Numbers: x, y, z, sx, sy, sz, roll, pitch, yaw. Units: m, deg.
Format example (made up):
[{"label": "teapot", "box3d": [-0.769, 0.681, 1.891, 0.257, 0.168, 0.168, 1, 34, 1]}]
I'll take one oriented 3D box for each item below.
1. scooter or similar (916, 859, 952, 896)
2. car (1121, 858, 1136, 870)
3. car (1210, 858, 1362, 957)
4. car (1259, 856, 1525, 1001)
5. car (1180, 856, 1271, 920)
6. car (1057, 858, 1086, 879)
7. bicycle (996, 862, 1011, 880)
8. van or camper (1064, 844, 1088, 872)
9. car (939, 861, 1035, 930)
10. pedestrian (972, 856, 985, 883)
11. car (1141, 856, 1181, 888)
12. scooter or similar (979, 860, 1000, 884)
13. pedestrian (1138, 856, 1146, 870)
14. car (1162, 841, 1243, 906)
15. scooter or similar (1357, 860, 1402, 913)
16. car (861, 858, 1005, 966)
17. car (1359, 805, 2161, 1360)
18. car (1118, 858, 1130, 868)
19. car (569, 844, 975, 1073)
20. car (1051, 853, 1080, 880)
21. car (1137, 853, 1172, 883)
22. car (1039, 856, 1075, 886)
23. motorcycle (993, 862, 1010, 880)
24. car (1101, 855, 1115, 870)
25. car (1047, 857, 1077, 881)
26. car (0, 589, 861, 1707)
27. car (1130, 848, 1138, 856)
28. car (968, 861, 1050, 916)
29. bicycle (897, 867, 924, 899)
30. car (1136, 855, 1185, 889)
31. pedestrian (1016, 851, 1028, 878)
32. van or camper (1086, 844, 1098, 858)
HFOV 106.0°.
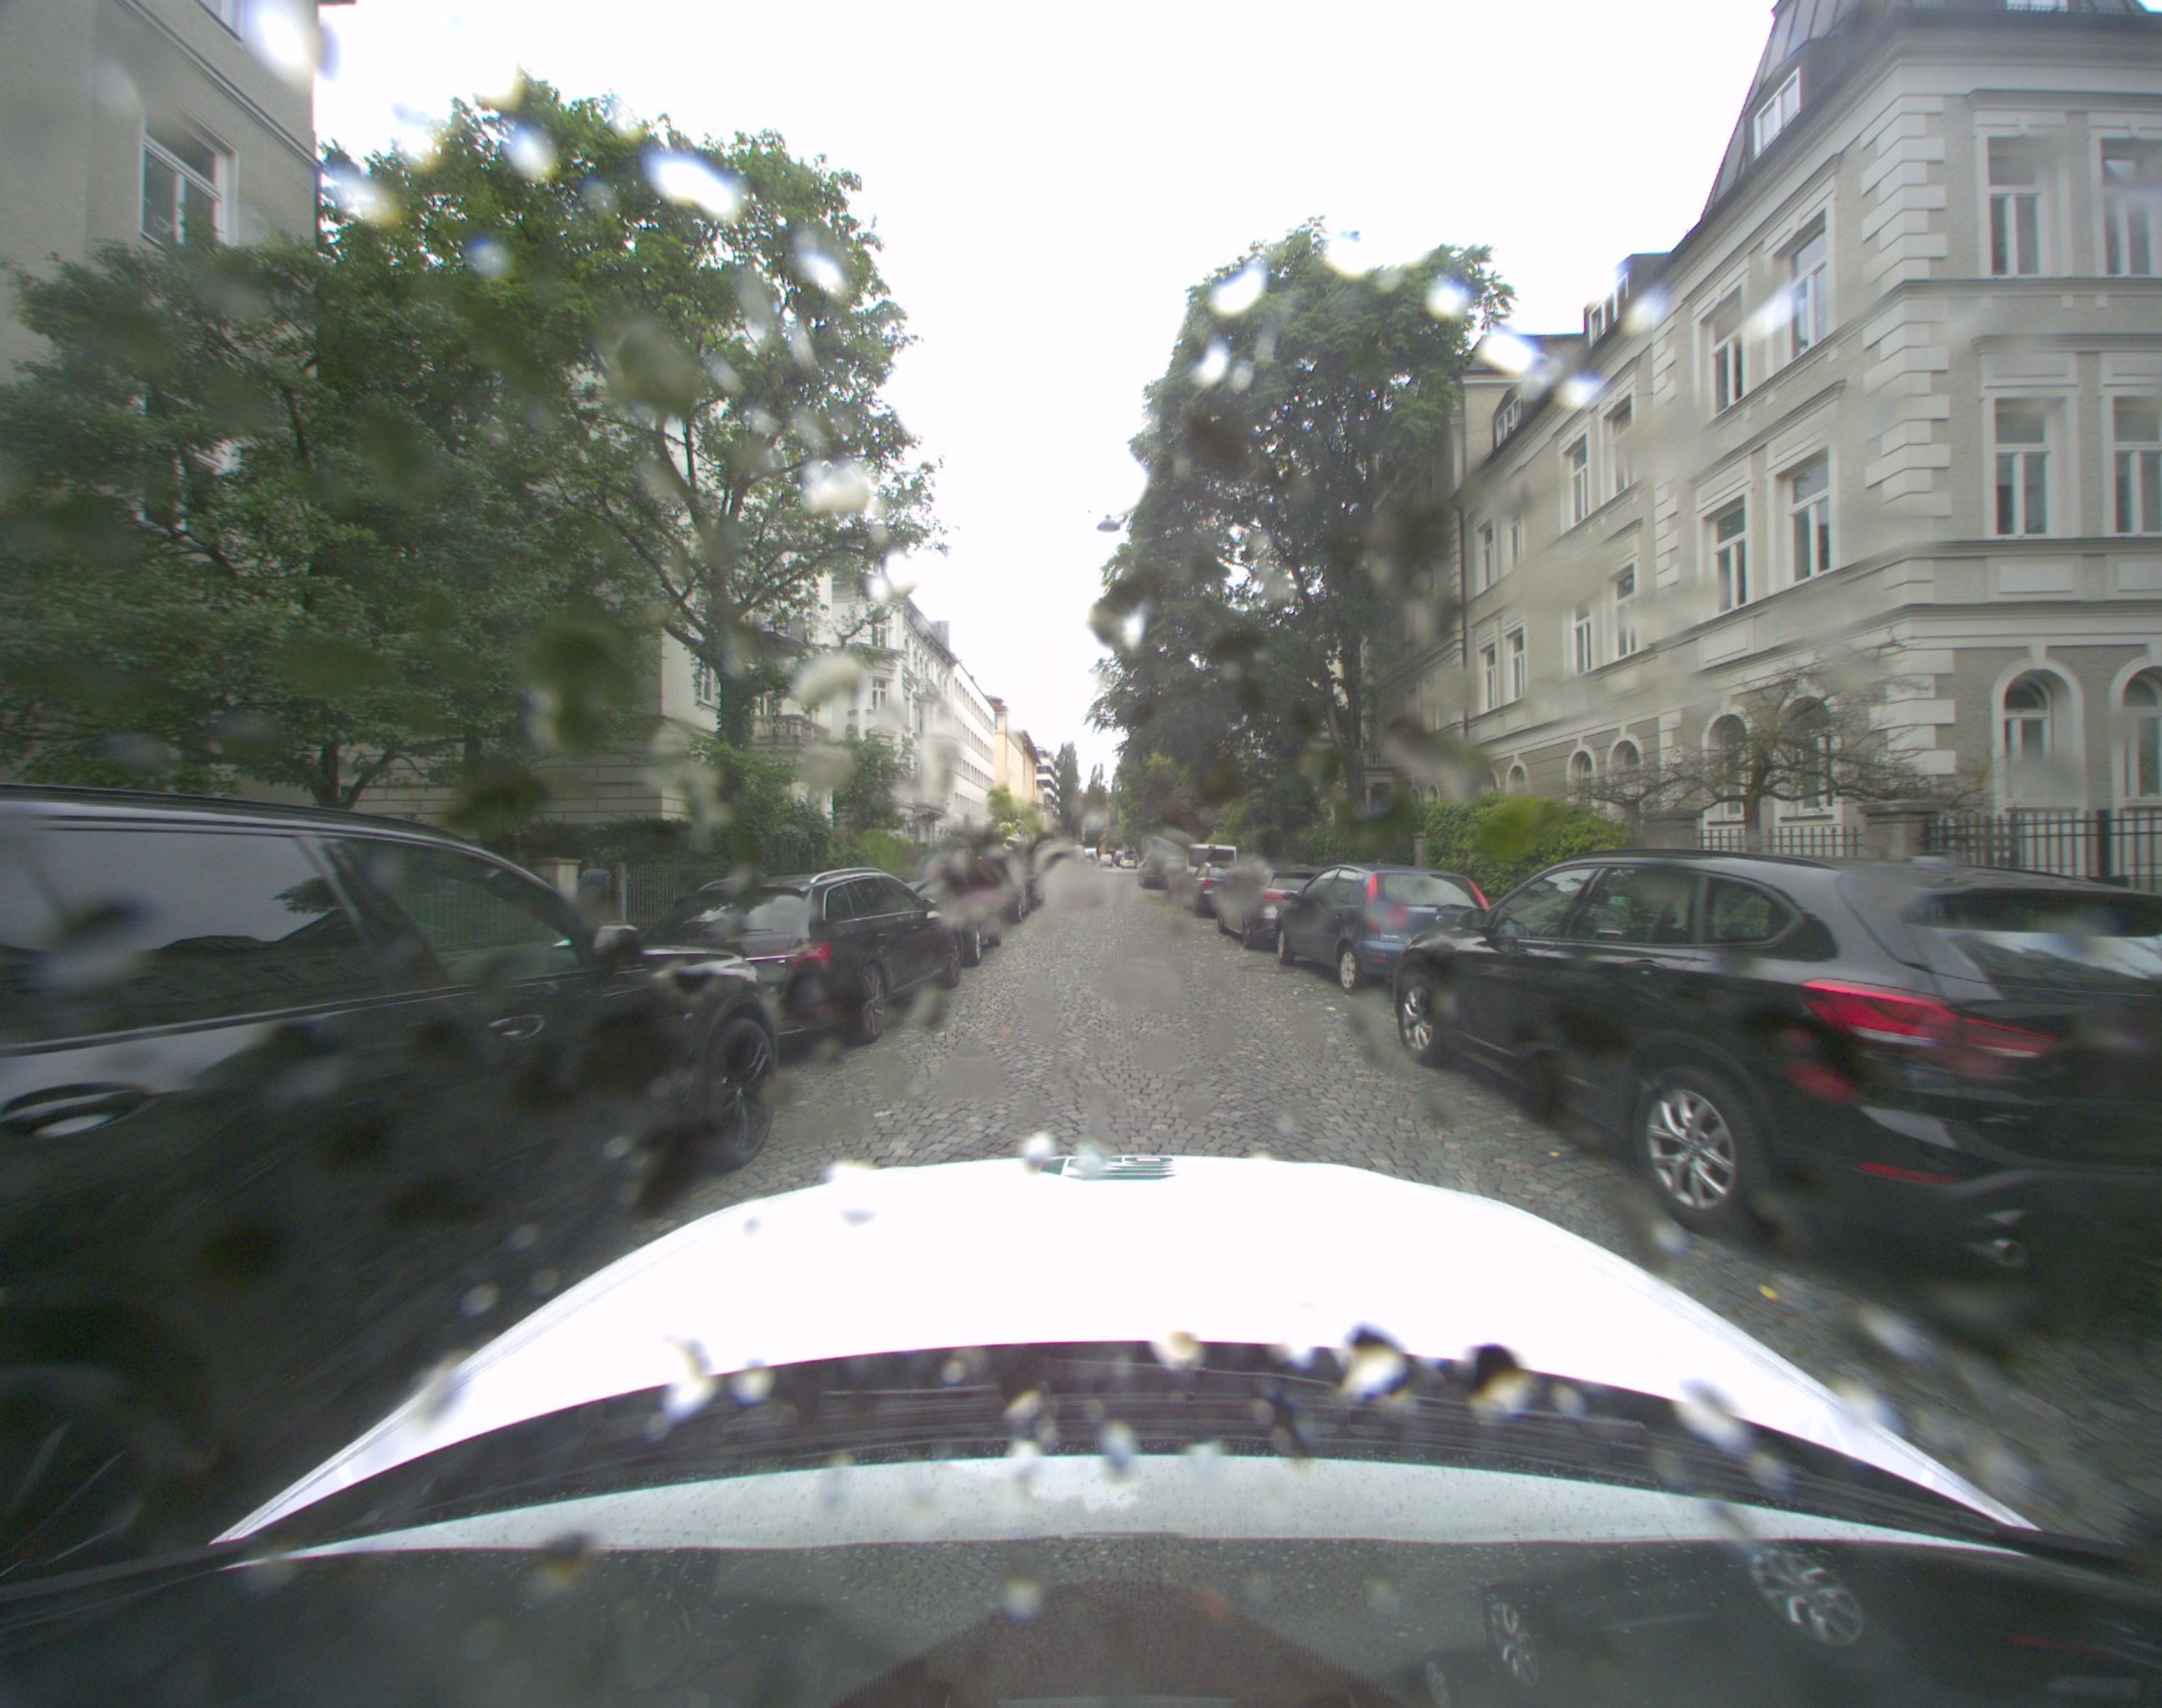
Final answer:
[{"label": "scooter or similar", "box3d": [-5.959, 0.929, 33.234, 0.938, 1.441, 2.656, 1, 0, 0]}, {"label": "car", "box3d": [5.924, 1.241, 101.187, 1.783, 1.520, 4.002, 0, 0, 2]}, {"label": "car", "box3d": [3.540, 0.846, 14.831, 1.707, 1.472, 4.269, 2, 0, 1]}, {"label": "car", "box3d": [3.670, 0.781, 10.441, 1.690, 1.440, 4.057, 2, 0, -3]}, {"label": "car", "box3d": [3.758, 0.834, 21.923, 1.829, 1.490, 4.424, 2, 0, 3]}, {"label": "car", "box3d": [-0.716, 1.107, 65.278, 1.864, 1.580, 4.213, 2, 0, 5]}, {"label": "bicycle", "box3d": [-5.470, 1.185, 57.752, 0.657, 1.221, 2.077, 0, 0, -17]}, {"label": "van or camper", "box3d": [-0.482, 0.392, 80.246, 1.986, 2.652, 4.002, -3, -1, 2]}, {"label": "car", "box3d": [-2.232, 0.950, 20.562, 1.777, 1.417, 4.497, -4, 0, 0]}, {"label": "pedestrian", "box3d": [-6.344, 0.942, 50.558, 0.715, 1.687, 0.695, 0, -1, 1]}, {"label": "car", "box3d": [4.363, 0.953, 44.857, 1.811, 1.580, 4.209, 3, 0, 1]}, {"label": "scooter or similar", "box3d": [-5.601, 1.069, 50.007, 0.938, 1.441, 2.657, -1, 0, 2]}, {"label": "pedestrian", "box3d": [8.794, 1.298, 118.087, 0.857, 2.014, 0.986, 0, -1, -16]}, {"label": "car", "box3d": [3.964, 0.600, 27.436, 1.867, 1.928, 5.162, 2, 0, 0]}, {"label": "scooter or similar", "box3d": [7.347, 0.776, 20.091, 0.414, 1.234, 1.242, -4, 0, -10]}, {"label": "car", "box3d": [-2.244, 0.822, 13.390, 1.657, 1.444, 4.169, -2, 0, -1]}, {"label": "car", "box3d": [3.327, 0.726, 4.834, 1.866, 1.670, 4.659, 2, 0, 2]}, {"label": "car", "box3d": [6.466, 1.330, 121.830, 1.783, 1.520, 4.002, 0, 0, 2]}, {"label": "car", "box3d": [-2.542, 0.761, 8.324, 1.970, 1.561, 5.020, -2, 0, 3]}, {"label": "car", "box3d": [-1.087, 0.914, 59.992, 1.867, 1.776, 4.123, -4, 0, 1]}, {"label": "car", "box3d": [4.602, 0.874, 51.437, 1.866, 1.733, 4.594, 2, 0, 2]}, {"label": "car", "box3d": [-1.357, 0.940, 47.596, 1.867, 1.580, 4.254, -3, 0, 0]}, {"label": "motorcycle", "box3d": [-5.419, 1.182, 55.583, 0.619, 1.196, 1.870, 0, 0, 11]}, {"label": "car", "box3d": [3.833, 1.174, 115.911, 1.986, 2.014, 4.002, 0, 0, 2]}, {"label": "car", "box3d": [-1.221, 0.962, 53.614, 1.867, 1.451, 4.207, -2, 0, 0]}, {"label": "car", "box3d": [-2.559, 0.626, 2.837, 1.986, 1.917, 5.178, -4, 0, 1]}, {"label": "car", "box3d": [13.200, -0.467, 204.011, 1.986, 2.014, 4.002, 0, -1, 2]}, {"label": "car", "box3d": [-2.143, 0.994, 25.327, 1.879, 1.417, 4.409, -4, 0, 2]}, {"label": "bicycle", "box3d": [-6.376, 1.082, 30.548, 0.575, 1.122, 2.051, 0, 0, 0]}, {"label": "car", "box3d": [3.792, 0.830, 39.595, 1.867, 1.503, 4.510, 2, 0, 0]}, {"label": "pedestrian", "box3d": [-4.334, 0.754, 59.820, 0.789, 1.917, 0.759, 1, 0, 1]}, {"label": "van or camper", "box3d": [2.309, -0.551, 164.812, 2.247, 2.742, 5.100, 0, 0, 2]}]
